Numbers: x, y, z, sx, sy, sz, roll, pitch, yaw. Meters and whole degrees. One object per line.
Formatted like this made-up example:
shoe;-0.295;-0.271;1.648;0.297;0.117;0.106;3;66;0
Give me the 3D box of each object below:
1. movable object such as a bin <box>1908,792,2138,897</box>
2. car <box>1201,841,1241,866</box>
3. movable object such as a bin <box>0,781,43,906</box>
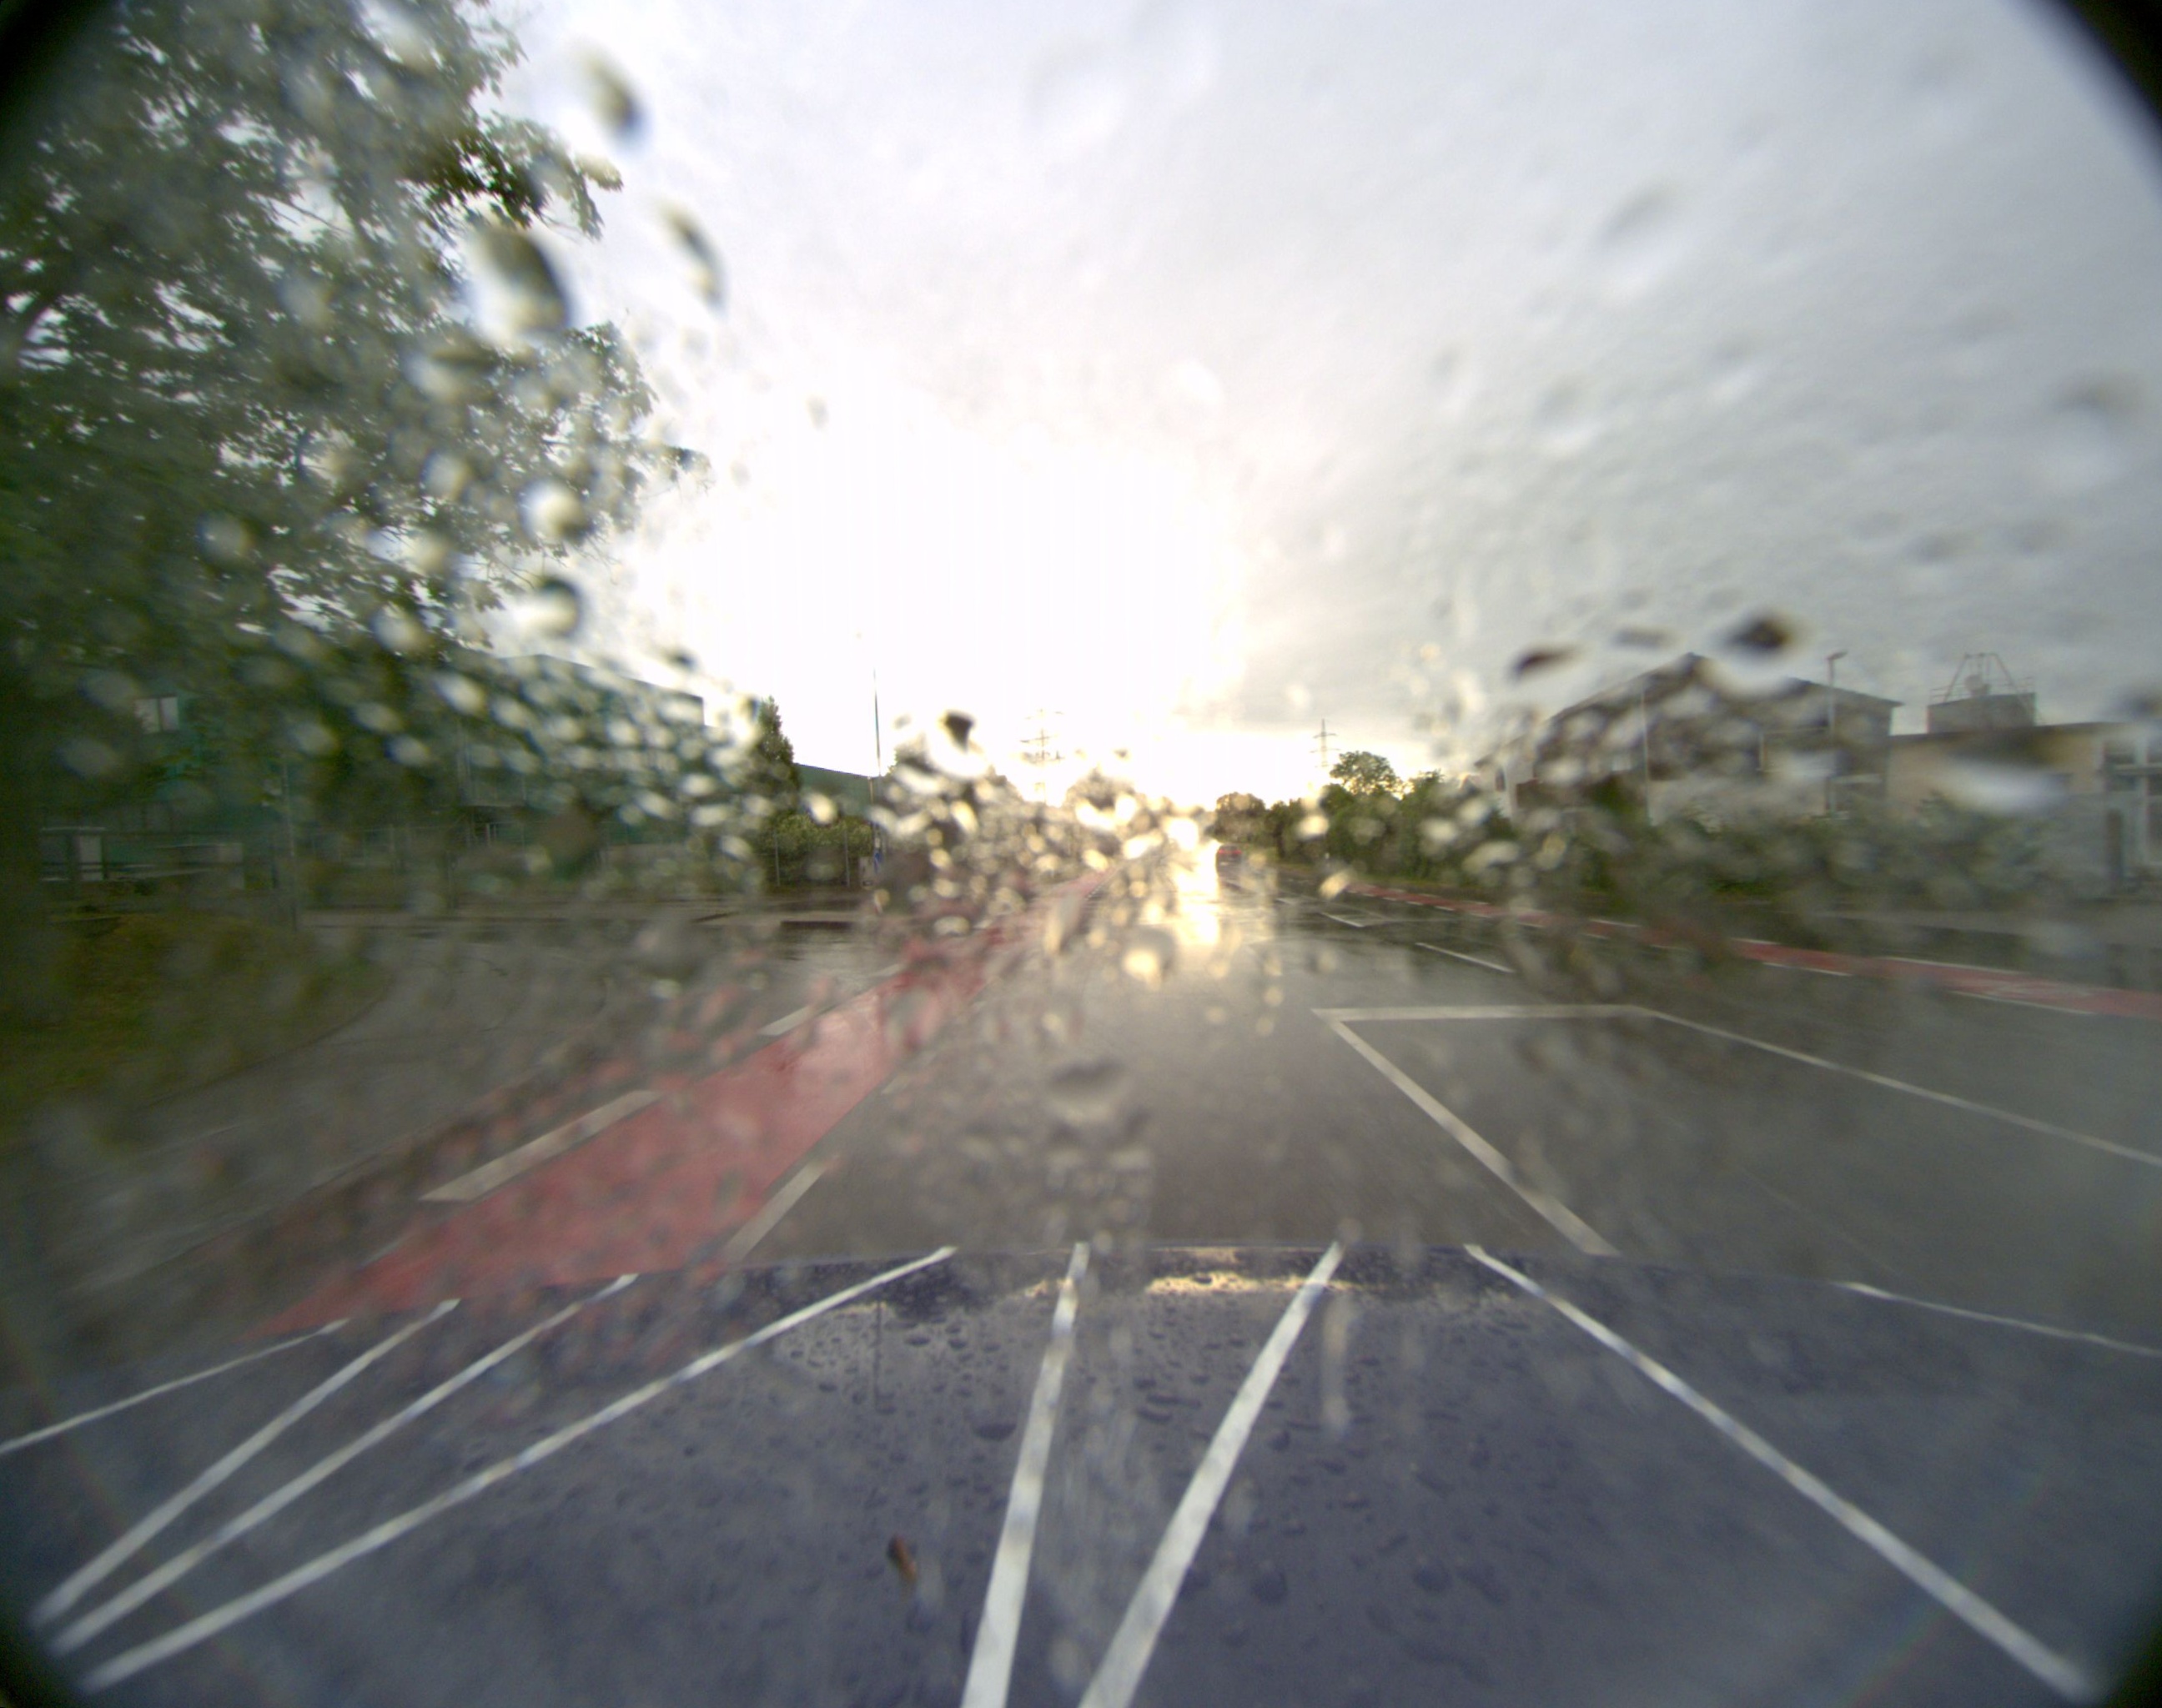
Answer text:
movable object such as a bin;23.990;-0.244;19.492;3.334;2.542;1.740;0;1;11
car;11.292;0.014;61.651;2.359;1.805;6.881;0;-1;4
movable object such as a bin;-13.764;-0.121;8.661;1.859;1.492;1.309;0;1;-10
